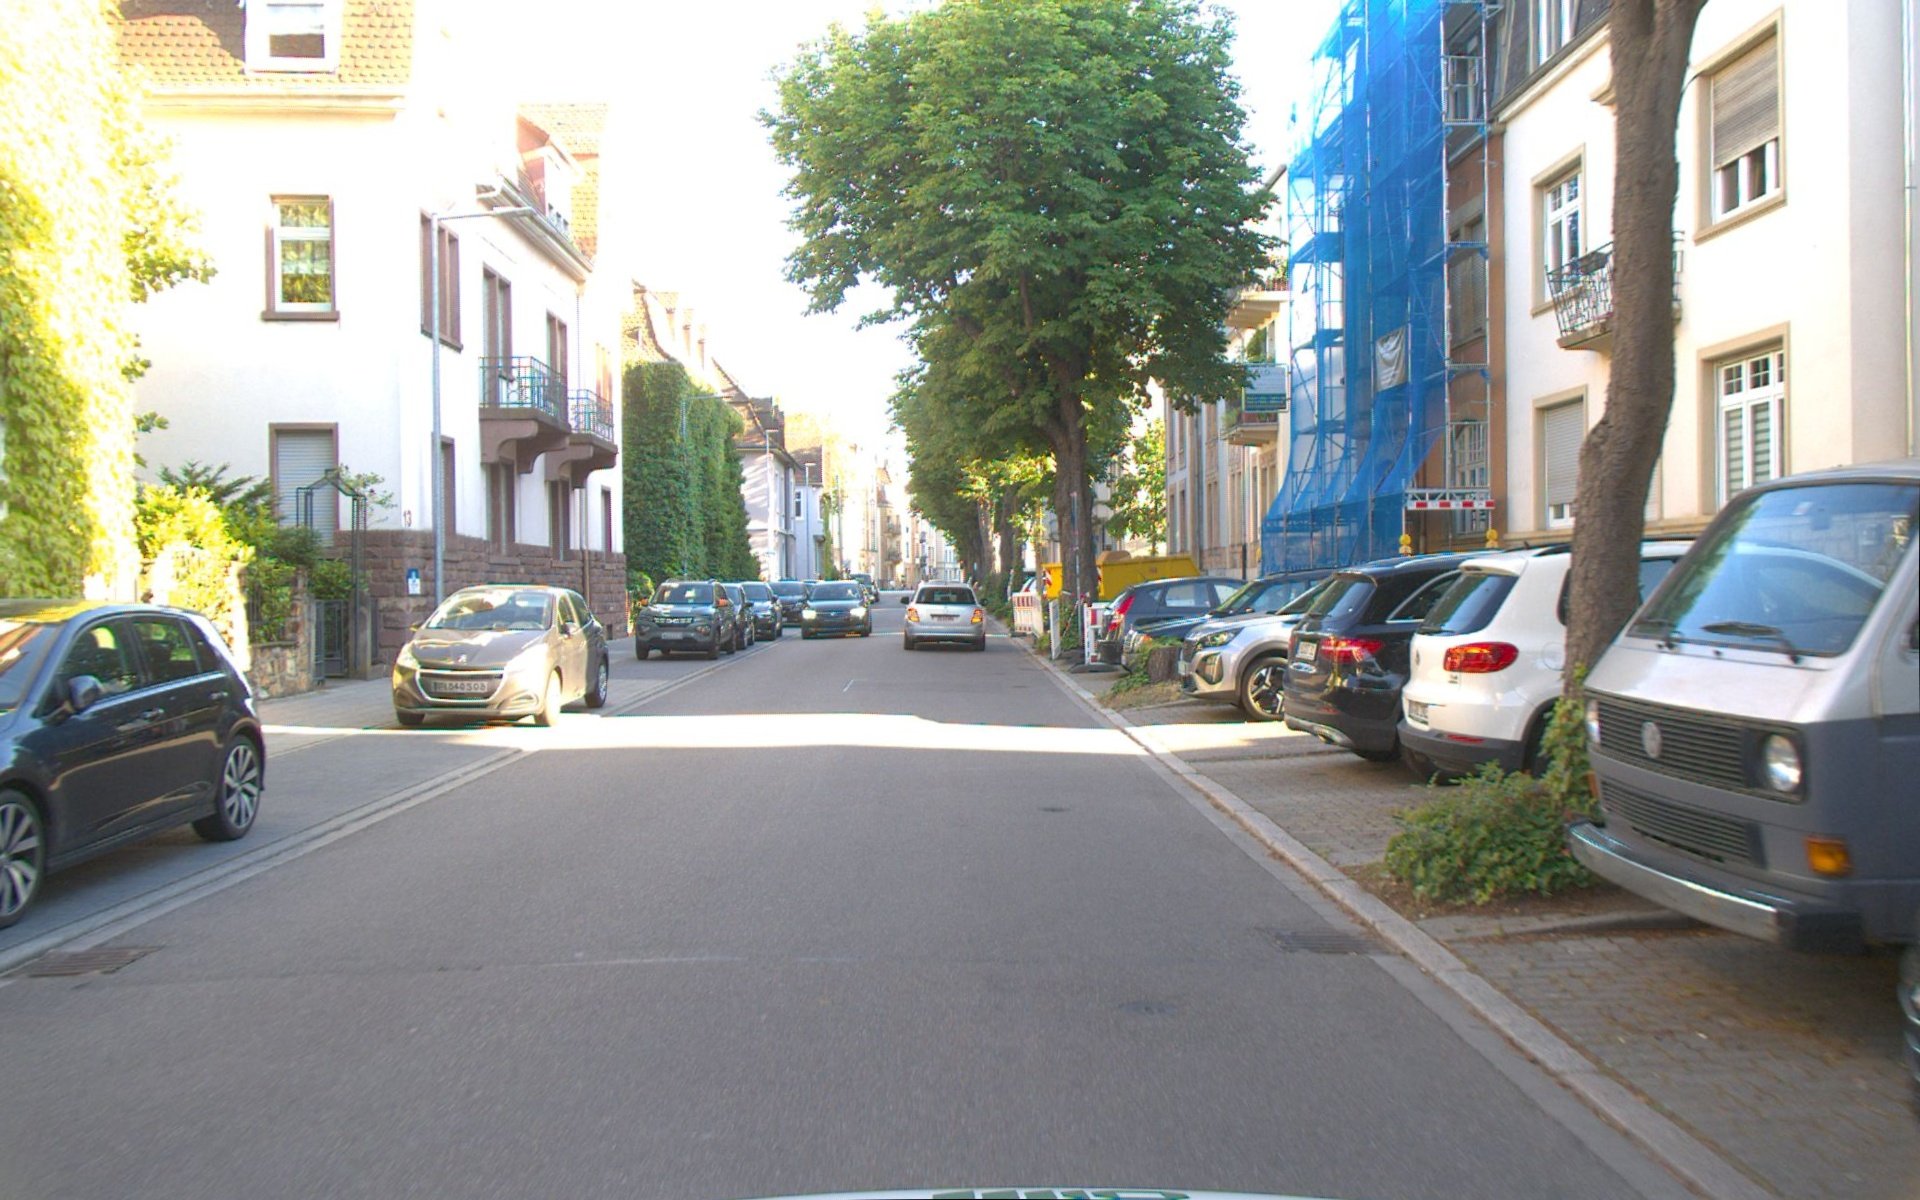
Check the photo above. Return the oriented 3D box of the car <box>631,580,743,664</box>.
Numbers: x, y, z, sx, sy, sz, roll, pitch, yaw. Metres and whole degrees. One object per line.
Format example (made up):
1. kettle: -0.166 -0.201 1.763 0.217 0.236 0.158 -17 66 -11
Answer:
1. car: -5.366 0.386 32.889 1.620 1.511 3.764 0 1 -1

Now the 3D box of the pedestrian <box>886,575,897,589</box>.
1. pedestrian: -8.755 -2.298 210.816 1.195 1.751 1.504 -1 1 2

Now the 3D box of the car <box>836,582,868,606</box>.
1. car: -6.360 -0.351 97.866 1.499 1.342 4.228 -1 1 2

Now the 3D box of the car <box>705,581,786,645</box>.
1. car: -5.529 0.296 43.141 1.757 1.487 4.775 0 1 -3

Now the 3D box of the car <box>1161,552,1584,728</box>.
1. car: 4.392 0.393 18.051 4.072 1.566 1.851 -3 1 -1

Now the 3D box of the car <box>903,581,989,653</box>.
1. car: -0.297 0.329 35.930 1.747 1.462 3.850 -1 1 0

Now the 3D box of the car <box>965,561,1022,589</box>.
1. car: 2.568 -1.948 127.517 4.136 1.929 1.904 -3 1 -3

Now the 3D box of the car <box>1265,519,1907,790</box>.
1. car: 4.664 0.360 12.712 4.244 1.712 1.705 -3 2 -2

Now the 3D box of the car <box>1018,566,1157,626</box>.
1. car: 3.843 -0.134 50.371 4.059 1.561 1.687 -3 1 1

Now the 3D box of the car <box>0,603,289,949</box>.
1. car: -5.081 0.793 8.538 1.620 1.440 4.167 0 1 -2

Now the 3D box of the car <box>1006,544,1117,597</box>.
1. car: 4.037 -1.191 66.316 4.227 1.838 2.000 -3 1 -2

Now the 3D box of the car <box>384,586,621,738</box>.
1. car: -5.072 0.612 18.859 1.620 1.472 4.005 0 1 -1

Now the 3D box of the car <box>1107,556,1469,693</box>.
1. car: 4.496 0.306 23.165 4.623 1.561 1.851 -3 1 -1

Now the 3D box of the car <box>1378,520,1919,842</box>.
1. car: 4.819 0.433 10.498 3.867 1.712 1.706 -3 2 2

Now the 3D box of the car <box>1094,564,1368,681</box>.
1. car: 4.131 0.321 25.685 3.905 1.518 1.851 -3 1 0

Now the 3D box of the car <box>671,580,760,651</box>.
1. car: -5.474 0.306 37.412 1.620 1.472 3.842 0 1 -3

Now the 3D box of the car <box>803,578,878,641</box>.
1. car: -3.139 0.205 44.075 1.736 1.473 4.000 -2 2 -1

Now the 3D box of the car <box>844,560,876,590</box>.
1. car: -6.607 -1.677 109.565 1.942 1.981 4.850 0 1 -2

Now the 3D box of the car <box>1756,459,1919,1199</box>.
1. car: 4.161 0.499 3.575 4.098 1.753 1.763 -2 1 -9

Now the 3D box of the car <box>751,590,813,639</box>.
1. car: -5.701 0.432 53.380 1.616 1.445 4.098 0 1 -1

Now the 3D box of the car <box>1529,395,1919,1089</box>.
1. car: 4.582 0.346 5.965 4.380 2.048 1.895 -2 1 -3

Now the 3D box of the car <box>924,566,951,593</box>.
1. car: -1.403 -1.297 102.426 1.590 1.597 3.680 -1 1 0
